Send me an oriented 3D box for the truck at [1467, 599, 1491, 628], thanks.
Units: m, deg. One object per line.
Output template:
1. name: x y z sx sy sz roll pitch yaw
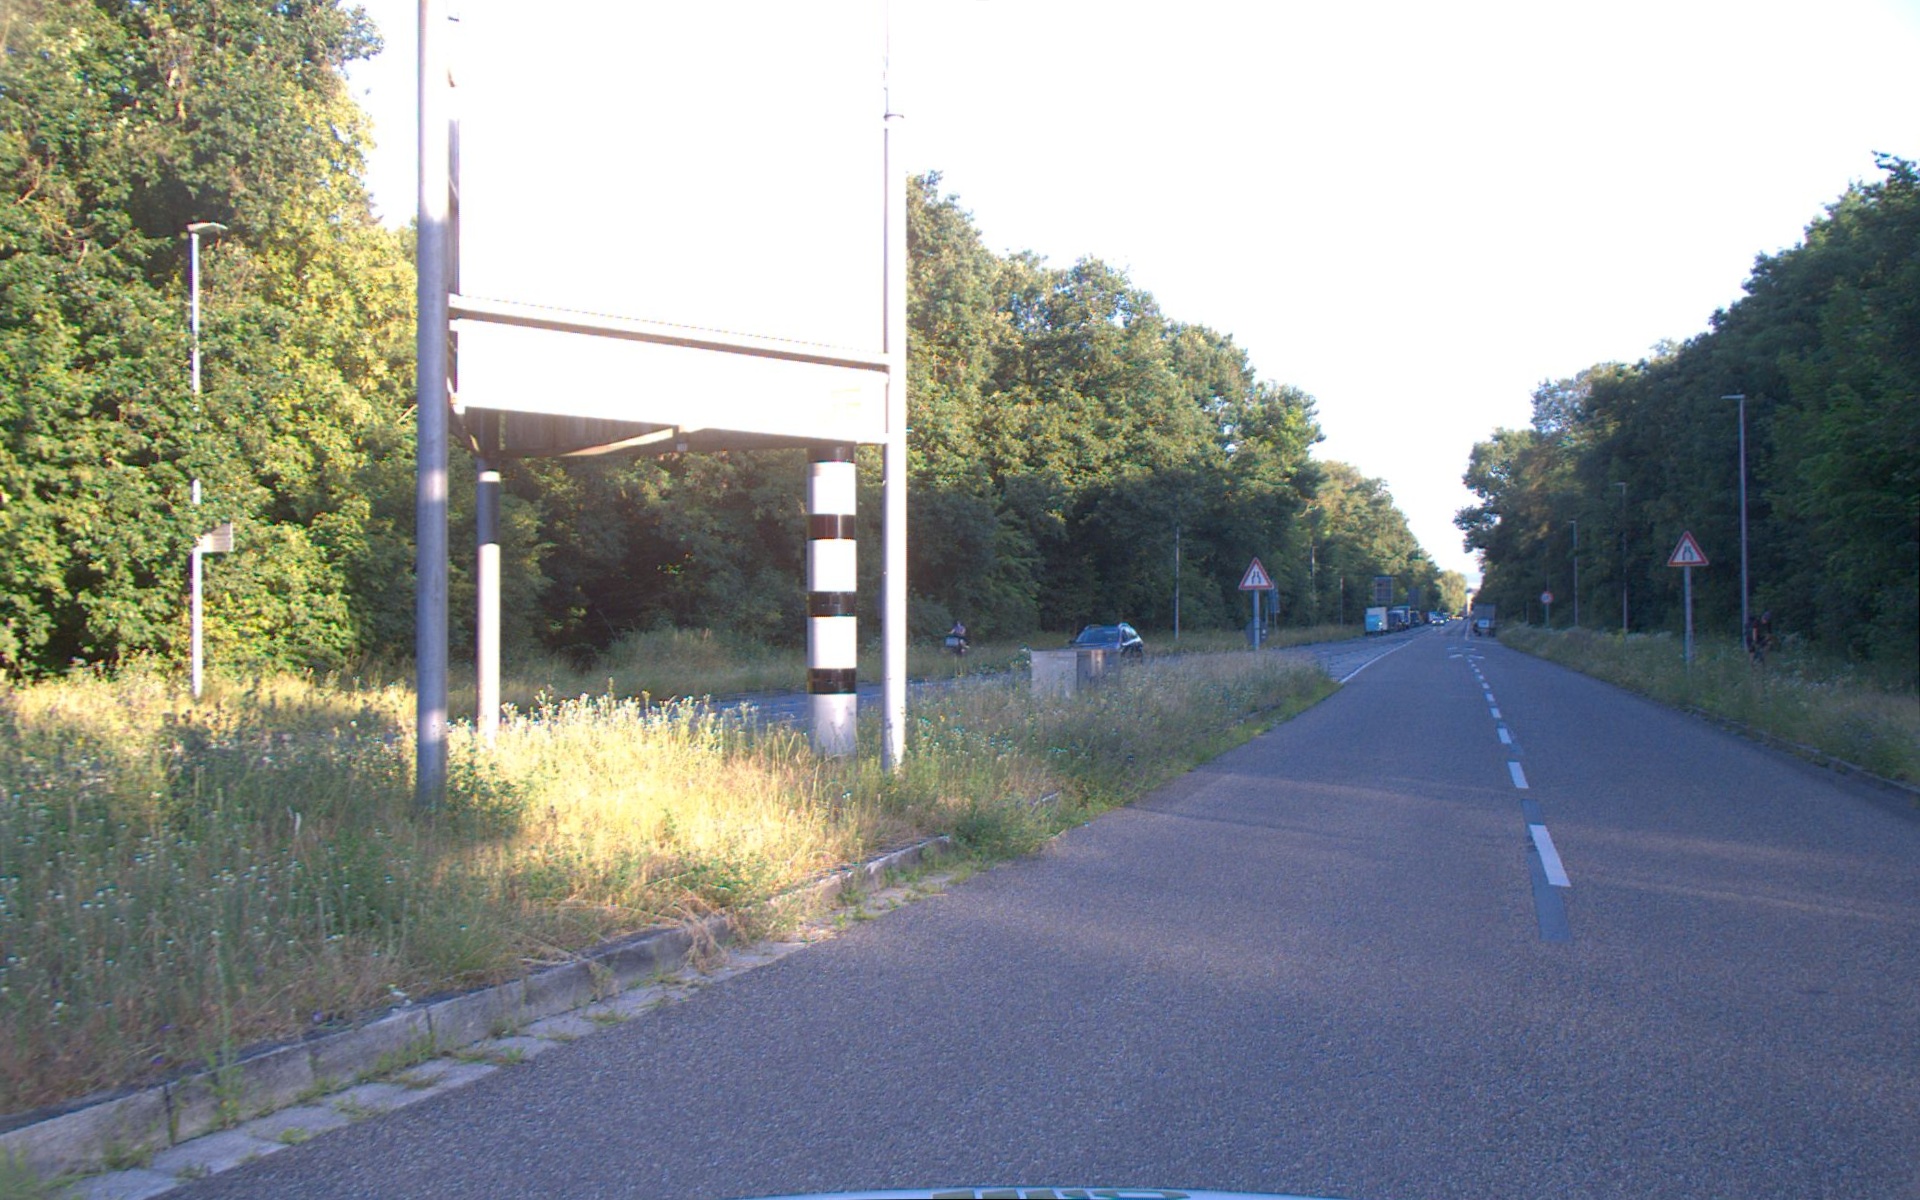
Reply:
1. truck: 59.555 1.553 189.705 2.534 3.312 7.223 1 -1 18

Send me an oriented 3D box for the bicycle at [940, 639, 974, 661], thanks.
1. bicycle: -0.115 1.934 63.962 0.574 0.818 1.957 -1 -1 24

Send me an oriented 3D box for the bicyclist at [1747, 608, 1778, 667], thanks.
1. bicyclist: 20.263 0.941 41.769 0.590 1.481 0.780 -1 -1 18

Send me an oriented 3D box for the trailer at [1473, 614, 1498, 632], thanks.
1. trailer: 50.432 2.193 158.673 1.429 1.691 3.769 -1 -1 30

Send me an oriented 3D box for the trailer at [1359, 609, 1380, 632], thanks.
1. trailer: 40.139 1.978 162.065 1.779 2.205 4.145 -1 -1 16

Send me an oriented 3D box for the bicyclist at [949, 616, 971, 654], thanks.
1. bicyclist: 0.008 1.369 64.110 0.574 1.455 0.822 -1 -1 24

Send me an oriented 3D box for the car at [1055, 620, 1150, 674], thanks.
1. car: 4.496 1.441 51.674 1.782 1.560 4.455 -3 -1 21

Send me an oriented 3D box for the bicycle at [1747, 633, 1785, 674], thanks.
1. bicycle: 20.222 1.335 41.526 0.598 1.013 1.691 -1 -1 18

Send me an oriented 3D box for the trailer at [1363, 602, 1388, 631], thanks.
1. trailer: 44.476 1.763 177.079 2.276 2.975 5.630 -3 -1 16

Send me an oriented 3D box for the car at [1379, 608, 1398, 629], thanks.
1. car: 52.157 2.216 201.275 1.951 2.406 5.768 -3 -1 17
